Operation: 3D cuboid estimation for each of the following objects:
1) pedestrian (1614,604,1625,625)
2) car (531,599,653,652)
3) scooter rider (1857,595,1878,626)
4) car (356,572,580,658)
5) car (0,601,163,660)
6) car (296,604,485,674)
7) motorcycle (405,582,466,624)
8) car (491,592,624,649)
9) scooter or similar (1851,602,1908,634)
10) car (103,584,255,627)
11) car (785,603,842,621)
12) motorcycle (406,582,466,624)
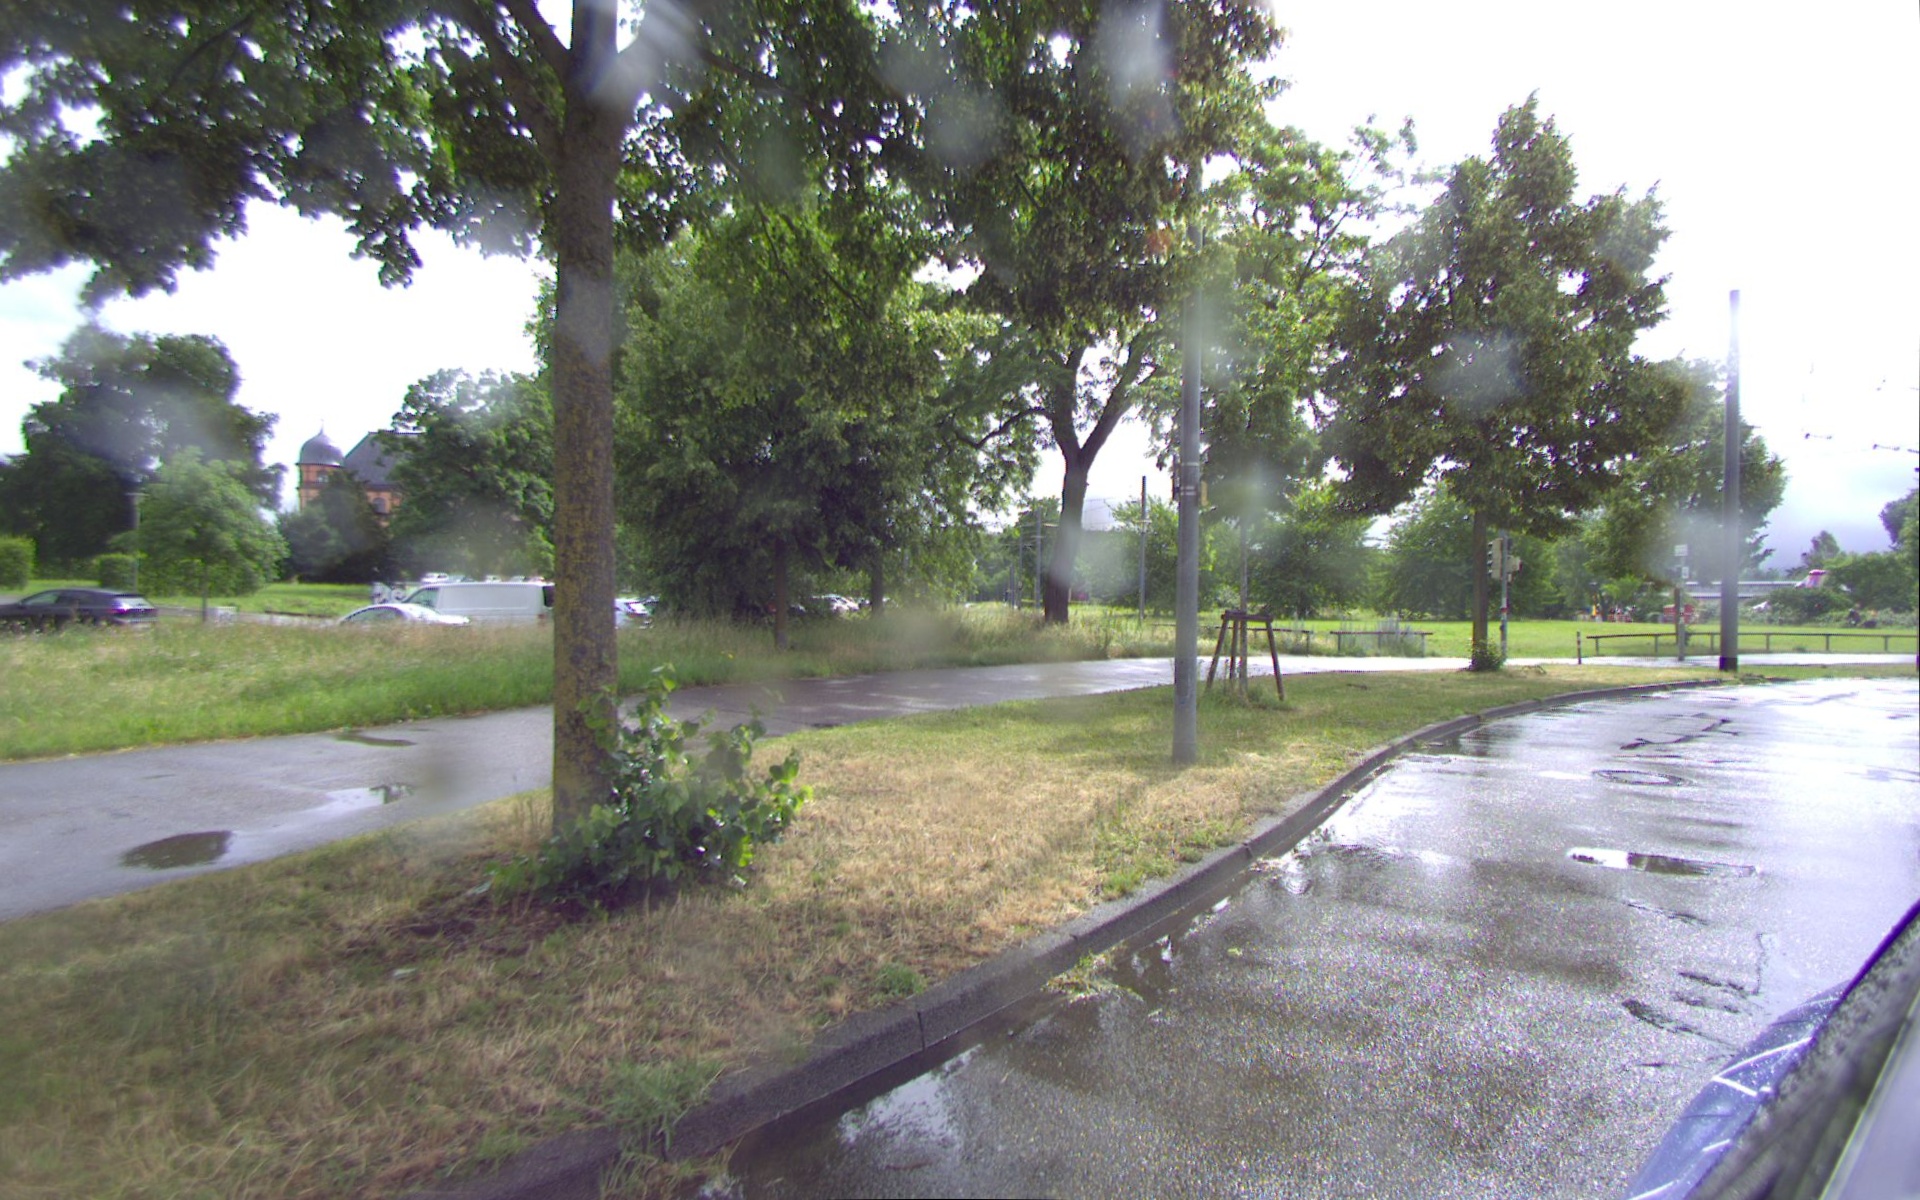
[{"bbox_3d":[57.224,1.247,87.832,0.593,1.754,0.600,2,-3,-22],"label":"pedestrian"},{"bbox_3d":[-12.212,0.818,33.670,3.539,1.684,1.526,0,0,8],"label":"car"},{"bbox_3d":[60.946,0.723,67.964,0.694,2.040,0.768,1,-2,9],"label":"scooter rider"},{"bbox_3d":[-13.188,0.361,27.286,5.072,2.083,2.110,2,1,7],"label":"car"},{"bbox_3d":[-24.229,0.812,27.748,3.517,1.362,1.661,3,0,4],"label":"car"},{"bbox_3d":[-13.187,0.878,23.536,3.557,1.529,1.606,0,0,6],"label":"car"},{"bbox_3d":[-23.384,0.134,45.163,2.305,1.790,0.659,2,-2,0],"label":"motorcycle"},{"bbox_3d":[-12.341,0.615,31.108,3.539,1.684,1.526,0,0,8],"label":"car"},{"bbox_3d":[60.859,1.235,67.055,1.221,2.040,3.395,1,-2,12],"label":"scooter or similar"},{"bbox_3d":[-24.064,0.167,31.254,3.516,1.252,1.662,1,0,4],"label":"car"},{"bbox_3d":[-10.885,0.889,75.453,3.906,1.324,1.849,0,0,3],"label":"car"},{"bbox_3d":[-23.707,0.146,45.799,2.305,1.790,0.659,2,-2,0],"label":"motorcycle"}]
